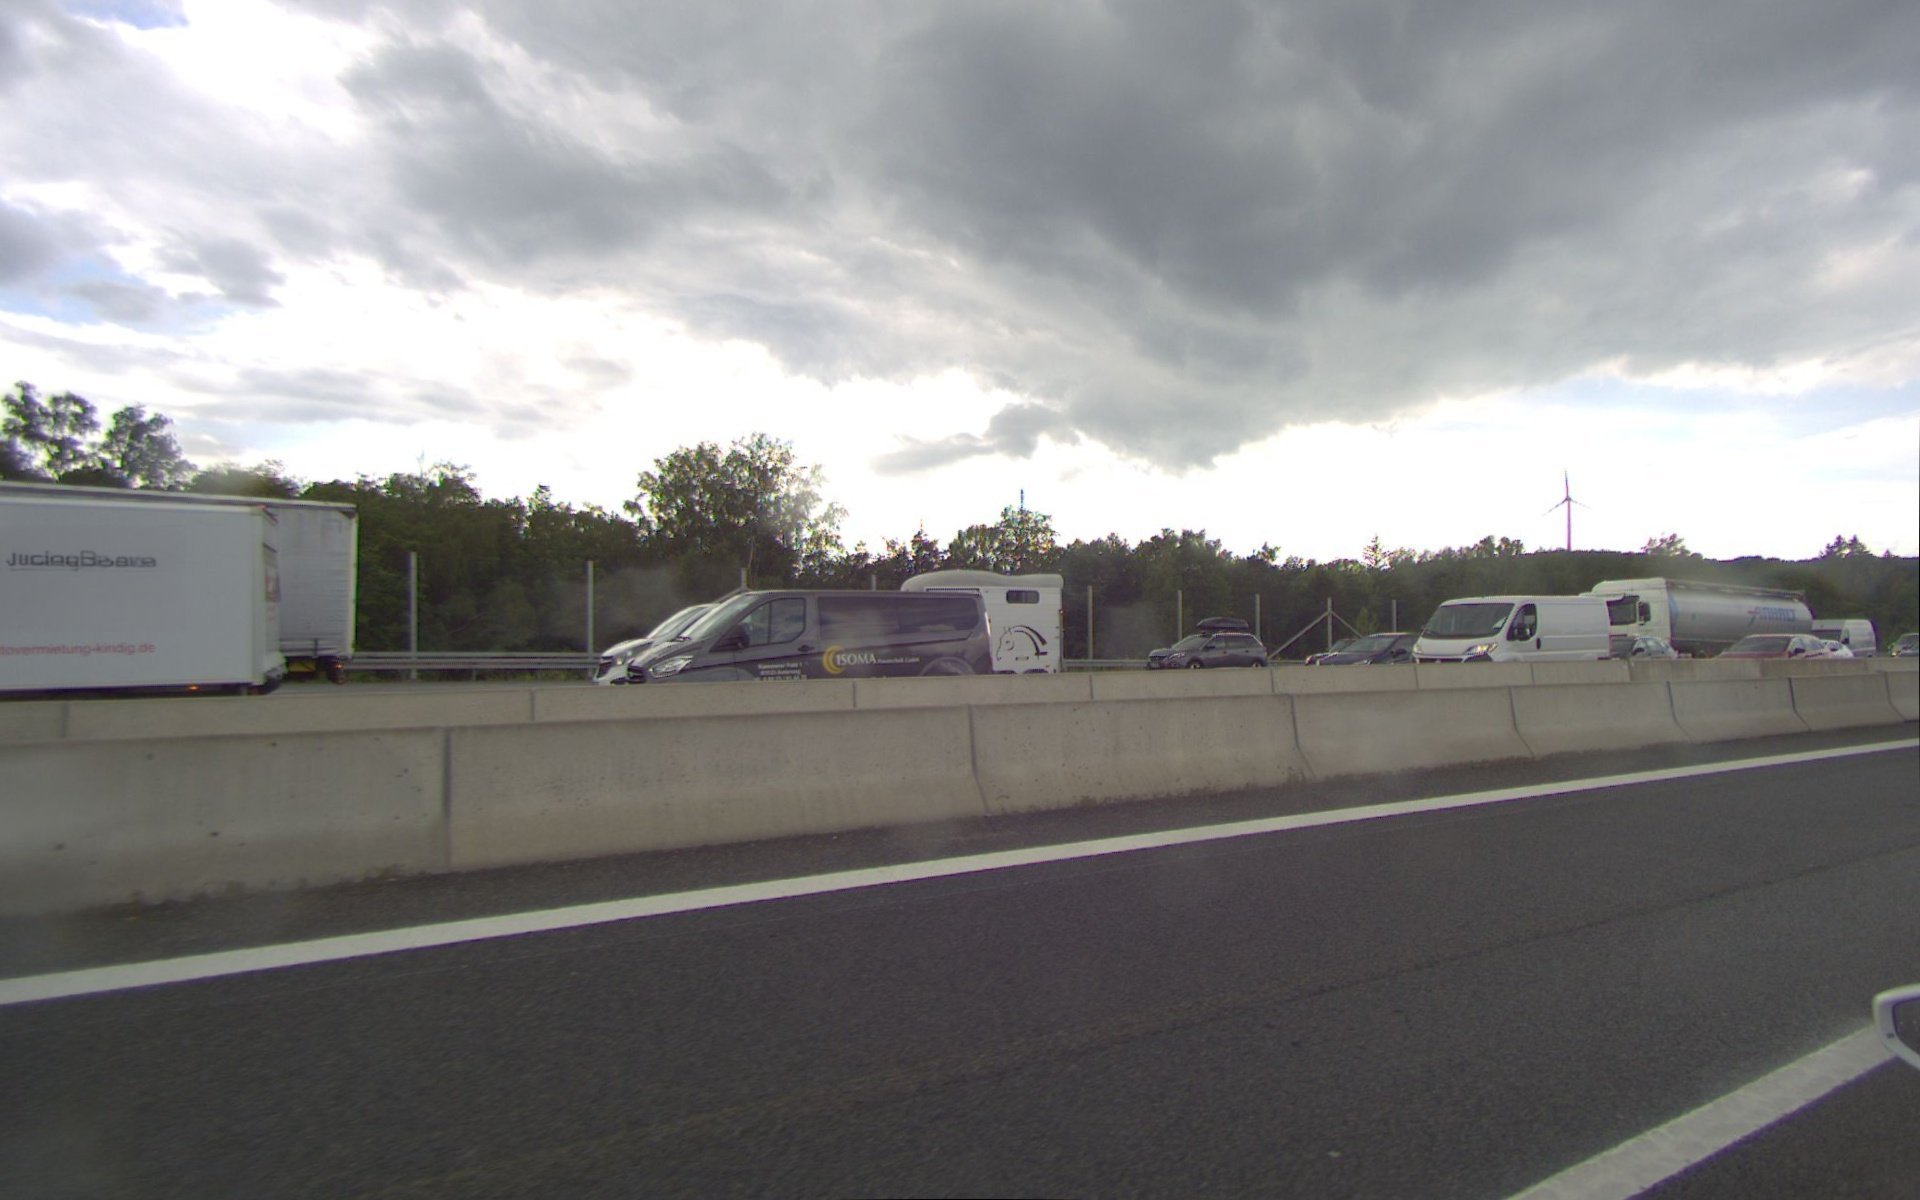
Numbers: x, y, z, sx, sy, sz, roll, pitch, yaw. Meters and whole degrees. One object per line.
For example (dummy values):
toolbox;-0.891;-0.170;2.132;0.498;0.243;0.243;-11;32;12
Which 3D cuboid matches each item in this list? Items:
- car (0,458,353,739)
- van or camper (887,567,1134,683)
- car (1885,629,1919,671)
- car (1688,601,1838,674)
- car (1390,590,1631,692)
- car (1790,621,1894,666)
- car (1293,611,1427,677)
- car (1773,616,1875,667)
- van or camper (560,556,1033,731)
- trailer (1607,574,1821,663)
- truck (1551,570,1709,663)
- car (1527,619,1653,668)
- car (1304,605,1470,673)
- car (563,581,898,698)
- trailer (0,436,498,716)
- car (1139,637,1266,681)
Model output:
car;-12.282;-0.025;12.908;7.537;3.344;2.486;1;0;-30
van or camper;1.118;0.533;21.376;4.913;2.215;2.085;1;0;-30
car;36.670;1.878;37.528;4.914;1.503;1.756;2;-1;-30
car;23.555;1.065;29.425;4.750;1.995;1.854;1;0;-30
car;12.156;0.864;22.055;5.565;1.995;2.085;1;0;-30
car;45.913;2.261;52.243;6.541;2.178;2.106;2;0;-30
car;13.015;1.406;32.660;3.953;1.995;2.085;1;0;-30
car;36.200;1.732;42.046;4.984;1.995;1.718;1;0;-30
van or camper;-2.126;0.567;14.130;6.272;2.040;1.984;1;0;-30
trailer;34.045;0.879;45.058;13.451;3.573;2.698;1;0;-31
truck;27.553;0.701;41.236;6.720;3.560;2.715;1;0;-30
car;21.069;1.445;33.541;4.301;1.523;1.791;2;-1;-30
car;11.435;1.011;26.844;4.374;1.683;1.854;1;0;-30
car;-4.045;0.681;18.160;5.598;1.848;1.849;2;0;-30
trailer;-16.489;-0.389;19.735;13.146;4.921;3.130;1;0;-32
car;8.143;1.949;33.660;3.953;1.339;1.880;1;0;-30
